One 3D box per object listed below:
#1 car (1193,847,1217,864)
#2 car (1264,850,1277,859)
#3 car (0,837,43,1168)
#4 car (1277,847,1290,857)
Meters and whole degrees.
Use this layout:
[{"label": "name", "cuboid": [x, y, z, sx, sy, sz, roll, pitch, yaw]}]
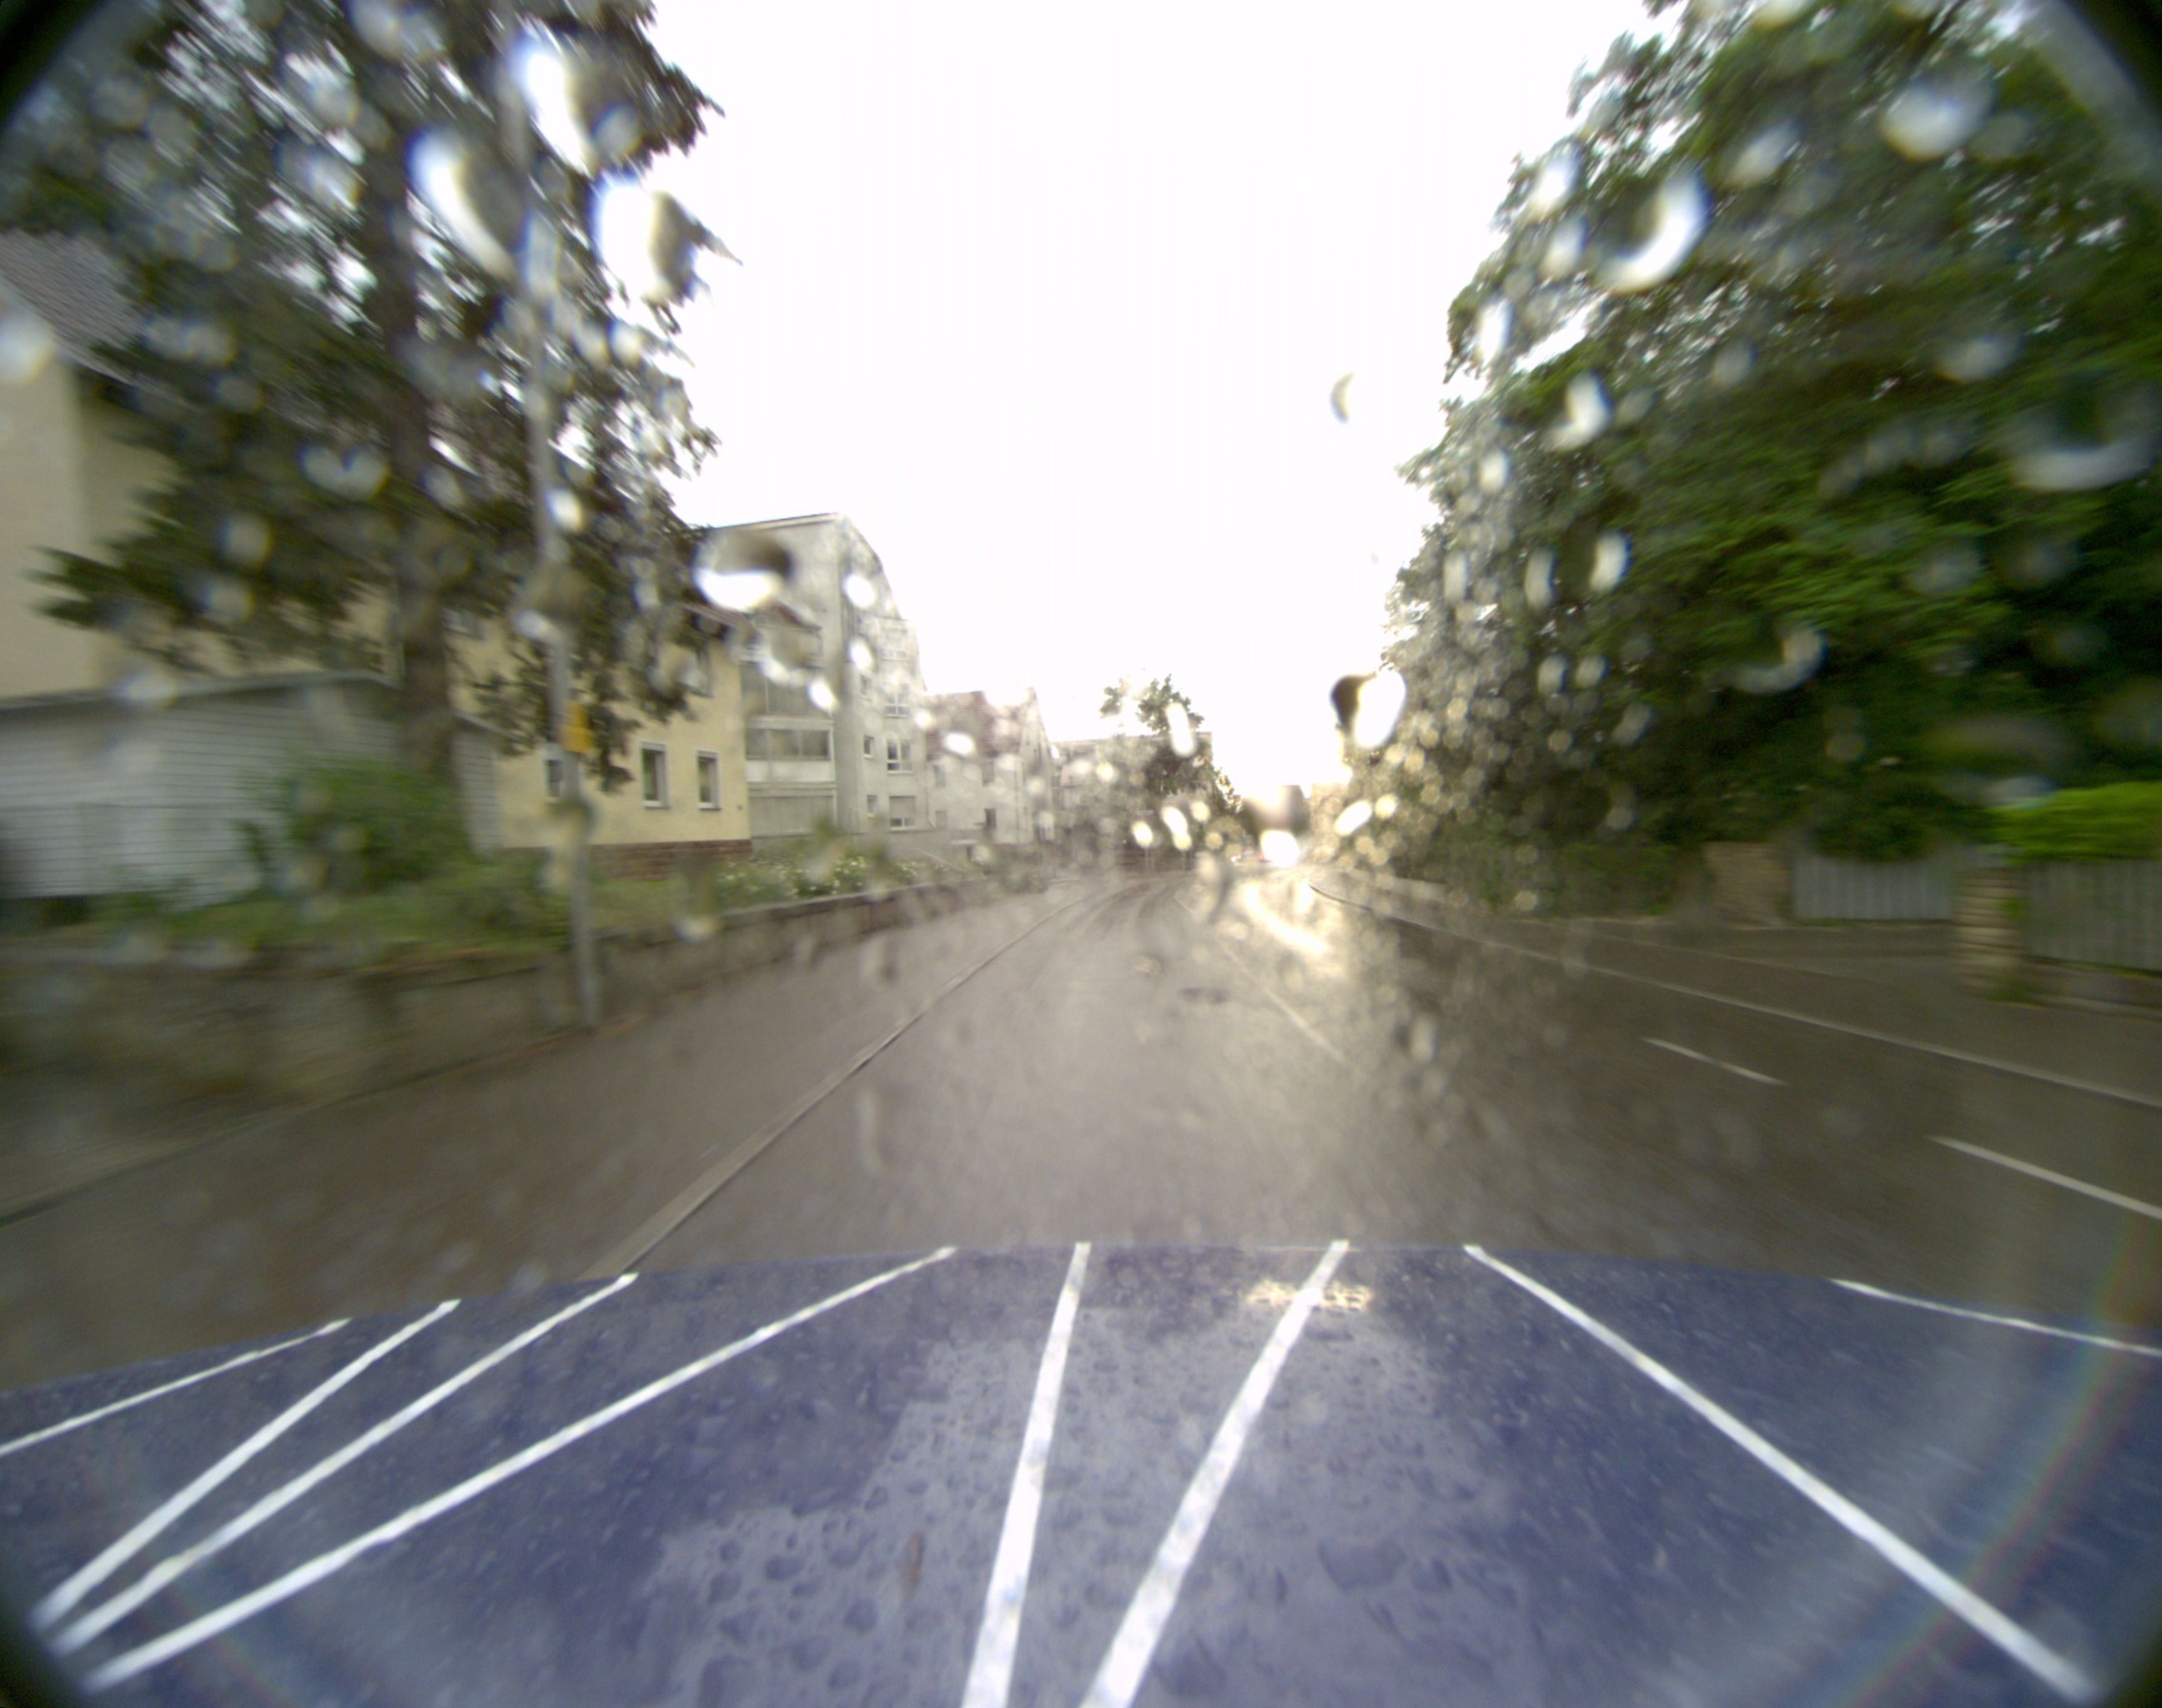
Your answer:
[{"label": "car", "cuboid": [12.242, 0.135, 74.806, 1.783, 1.561, 4.733, -4, -1, 15]}, {"label": "car", "cuboid": [31.752, 0.024, 127.499, 1.802, 1.431, 4.693, -2, -1, 12]}, {"label": "car", "cuboid": [-7.670, 0.783, 3.337, 4.324, 1.644, 1.965, -1, 1, 11]}, {"label": "car", "cuboid": [35.314, -0.304, 132.579, 1.748, 1.562, 3.816, -5, -1, 12]}]
